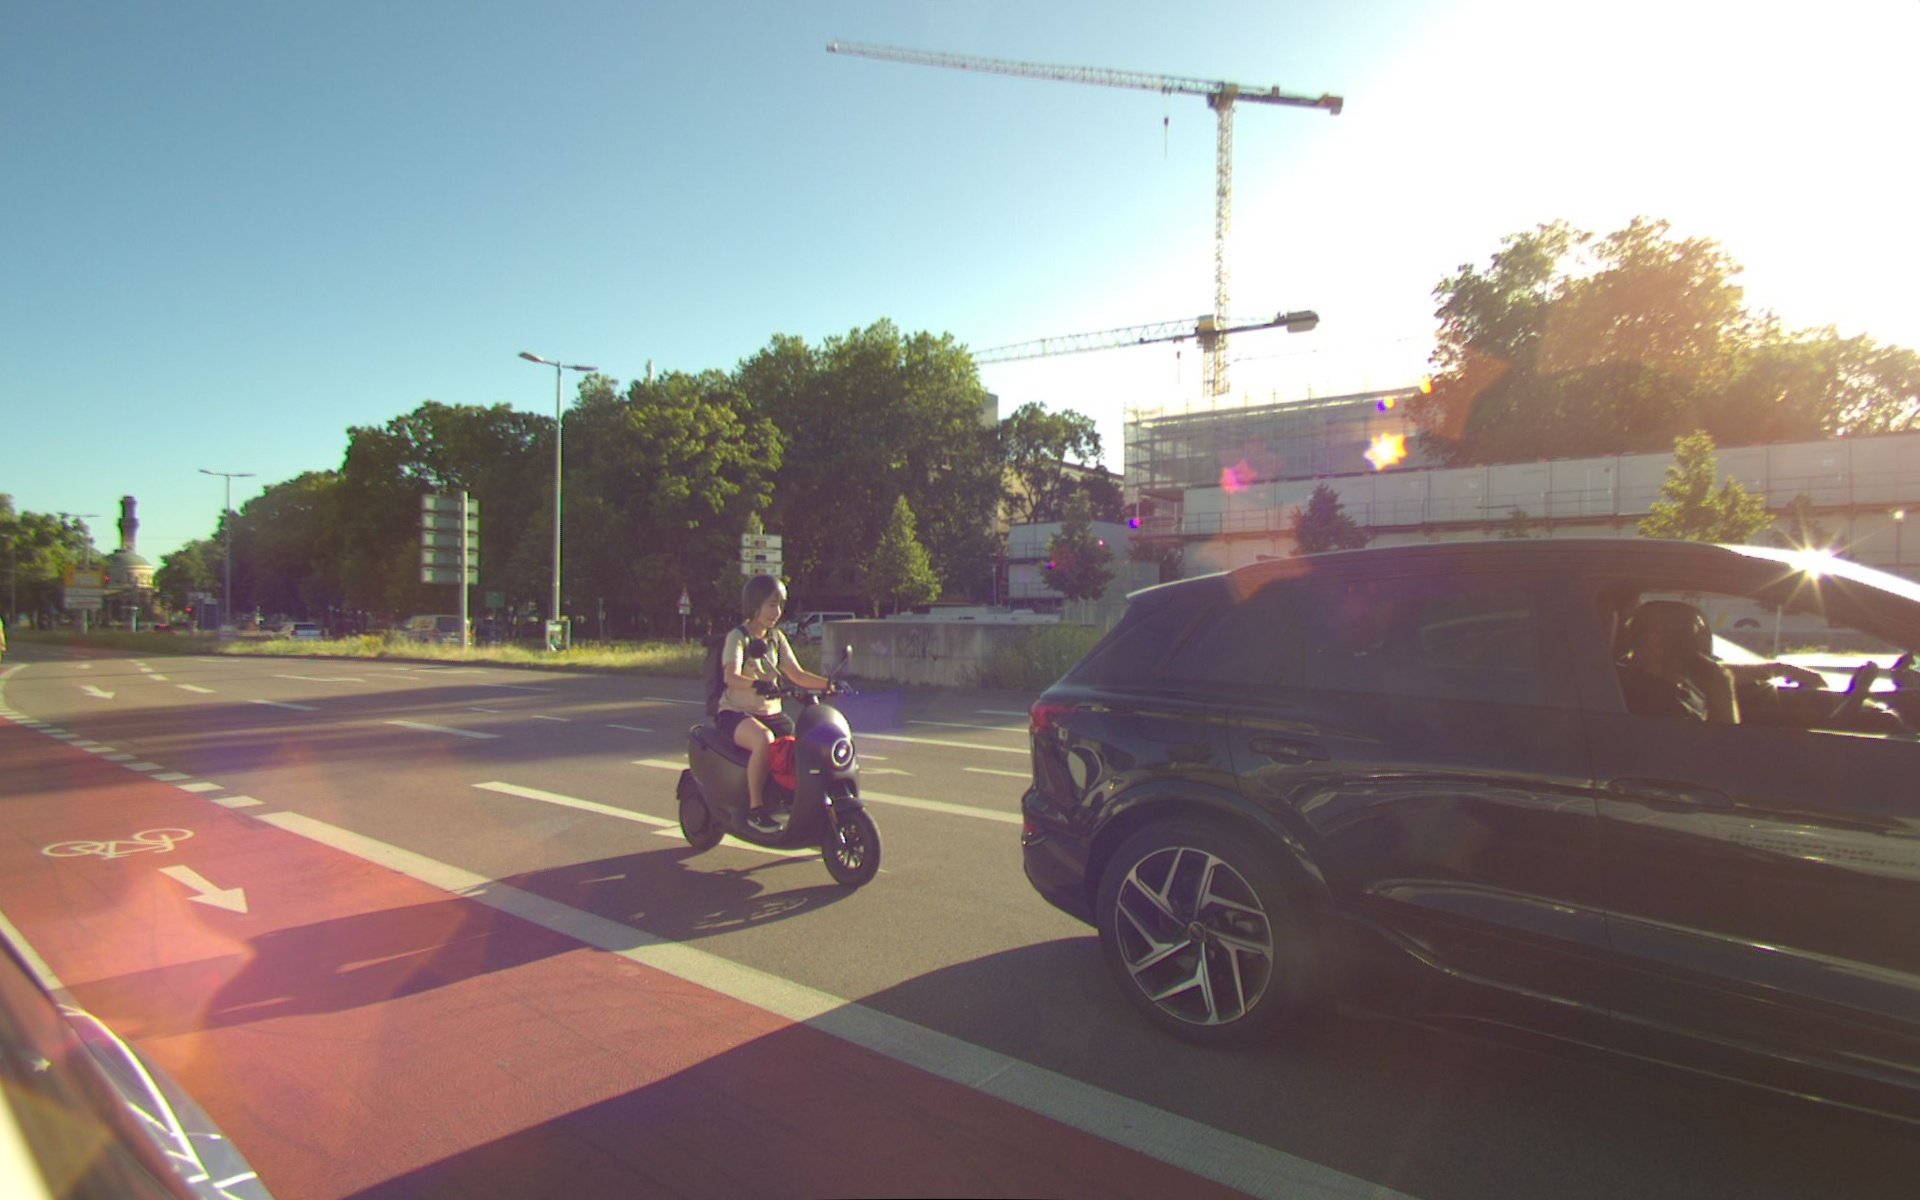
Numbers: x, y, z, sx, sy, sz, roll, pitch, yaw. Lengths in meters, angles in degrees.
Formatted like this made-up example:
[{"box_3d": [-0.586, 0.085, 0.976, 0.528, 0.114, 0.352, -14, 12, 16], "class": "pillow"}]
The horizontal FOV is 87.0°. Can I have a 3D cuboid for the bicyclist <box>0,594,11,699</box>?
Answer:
[{"box_3d": [-15.788, 0.750, 16.264, 0.877, 1.671, 0.666, -1, -2, 41], "class": "bicyclist"}]

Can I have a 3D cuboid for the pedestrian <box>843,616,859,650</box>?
[{"box_3d": [-4.940, 1.480, 45.809, 0.494, 1.522, 0.492, -1, -2, 41], "class": "pedestrian"}]

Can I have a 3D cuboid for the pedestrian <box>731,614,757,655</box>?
[{"box_3d": [-10.925, 1.733, 51.103, 0.838, 2.029, 0.946, -1, 0, 35], "class": "pedestrian"}]

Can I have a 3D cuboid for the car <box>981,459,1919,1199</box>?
[{"box_3d": [2.554, 0.557, 3.183, 4.660, 1.720, 2.144, -1, -1, 39], "class": "car"}]

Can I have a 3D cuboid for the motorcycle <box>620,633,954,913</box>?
[{"box_3d": [-1.025, 0.841, 5.698, 1.943, 1.290, 0.817, -1, -2, 41], "class": "motorcycle"}]

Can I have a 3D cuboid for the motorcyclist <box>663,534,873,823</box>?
[{"box_3d": [-1.092, 0.411, 5.775, 0.877, 1.475, 0.813, -1, -2, 41], "class": "motorcyclist"}]

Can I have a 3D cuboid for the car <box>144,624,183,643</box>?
[{"box_3d": [-66.346, 2.768, 84.306, 3.979, 1.492, 1.857, -1, -2, 41], "class": "car"}]

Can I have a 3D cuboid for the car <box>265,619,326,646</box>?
[{"box_3d": [-34.992, 1.706, 53.264, 3.941, 1.387, 1.705, -1, -2, 41], "class": "car"}]

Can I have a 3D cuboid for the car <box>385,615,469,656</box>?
[{"box_3d": [-26.492, 1.748, 50.256, 4.925, 1.937, 1.863, -1, -2, 39], "class": "car"}]

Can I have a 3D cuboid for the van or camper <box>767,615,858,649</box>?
[{"box_3d": [-8.964, 1.926, 61.884, 1.951, 1.960, 5.425, -2, -2, 44], "class": "van or camper"}]

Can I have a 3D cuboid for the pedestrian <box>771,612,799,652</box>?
[{"box_3d": [-8.735, 1.583, 50.464, 0.815, 1.978, 1.111, -1, 0, 41], "class": "pedestrian"}]

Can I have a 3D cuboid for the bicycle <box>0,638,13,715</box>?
[{"box_3d": [-15.743, 1.214, 16.200, 1.505, 1.201, 0.680, -1, -2, 41], "class": "bicycle"}]

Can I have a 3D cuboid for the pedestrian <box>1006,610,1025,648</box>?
[{"box_3d": [2.364, 1.231, 43.087, 0.597, 1.614, 0.580, -1, 0, 38], "class": "pedestrian"}]
